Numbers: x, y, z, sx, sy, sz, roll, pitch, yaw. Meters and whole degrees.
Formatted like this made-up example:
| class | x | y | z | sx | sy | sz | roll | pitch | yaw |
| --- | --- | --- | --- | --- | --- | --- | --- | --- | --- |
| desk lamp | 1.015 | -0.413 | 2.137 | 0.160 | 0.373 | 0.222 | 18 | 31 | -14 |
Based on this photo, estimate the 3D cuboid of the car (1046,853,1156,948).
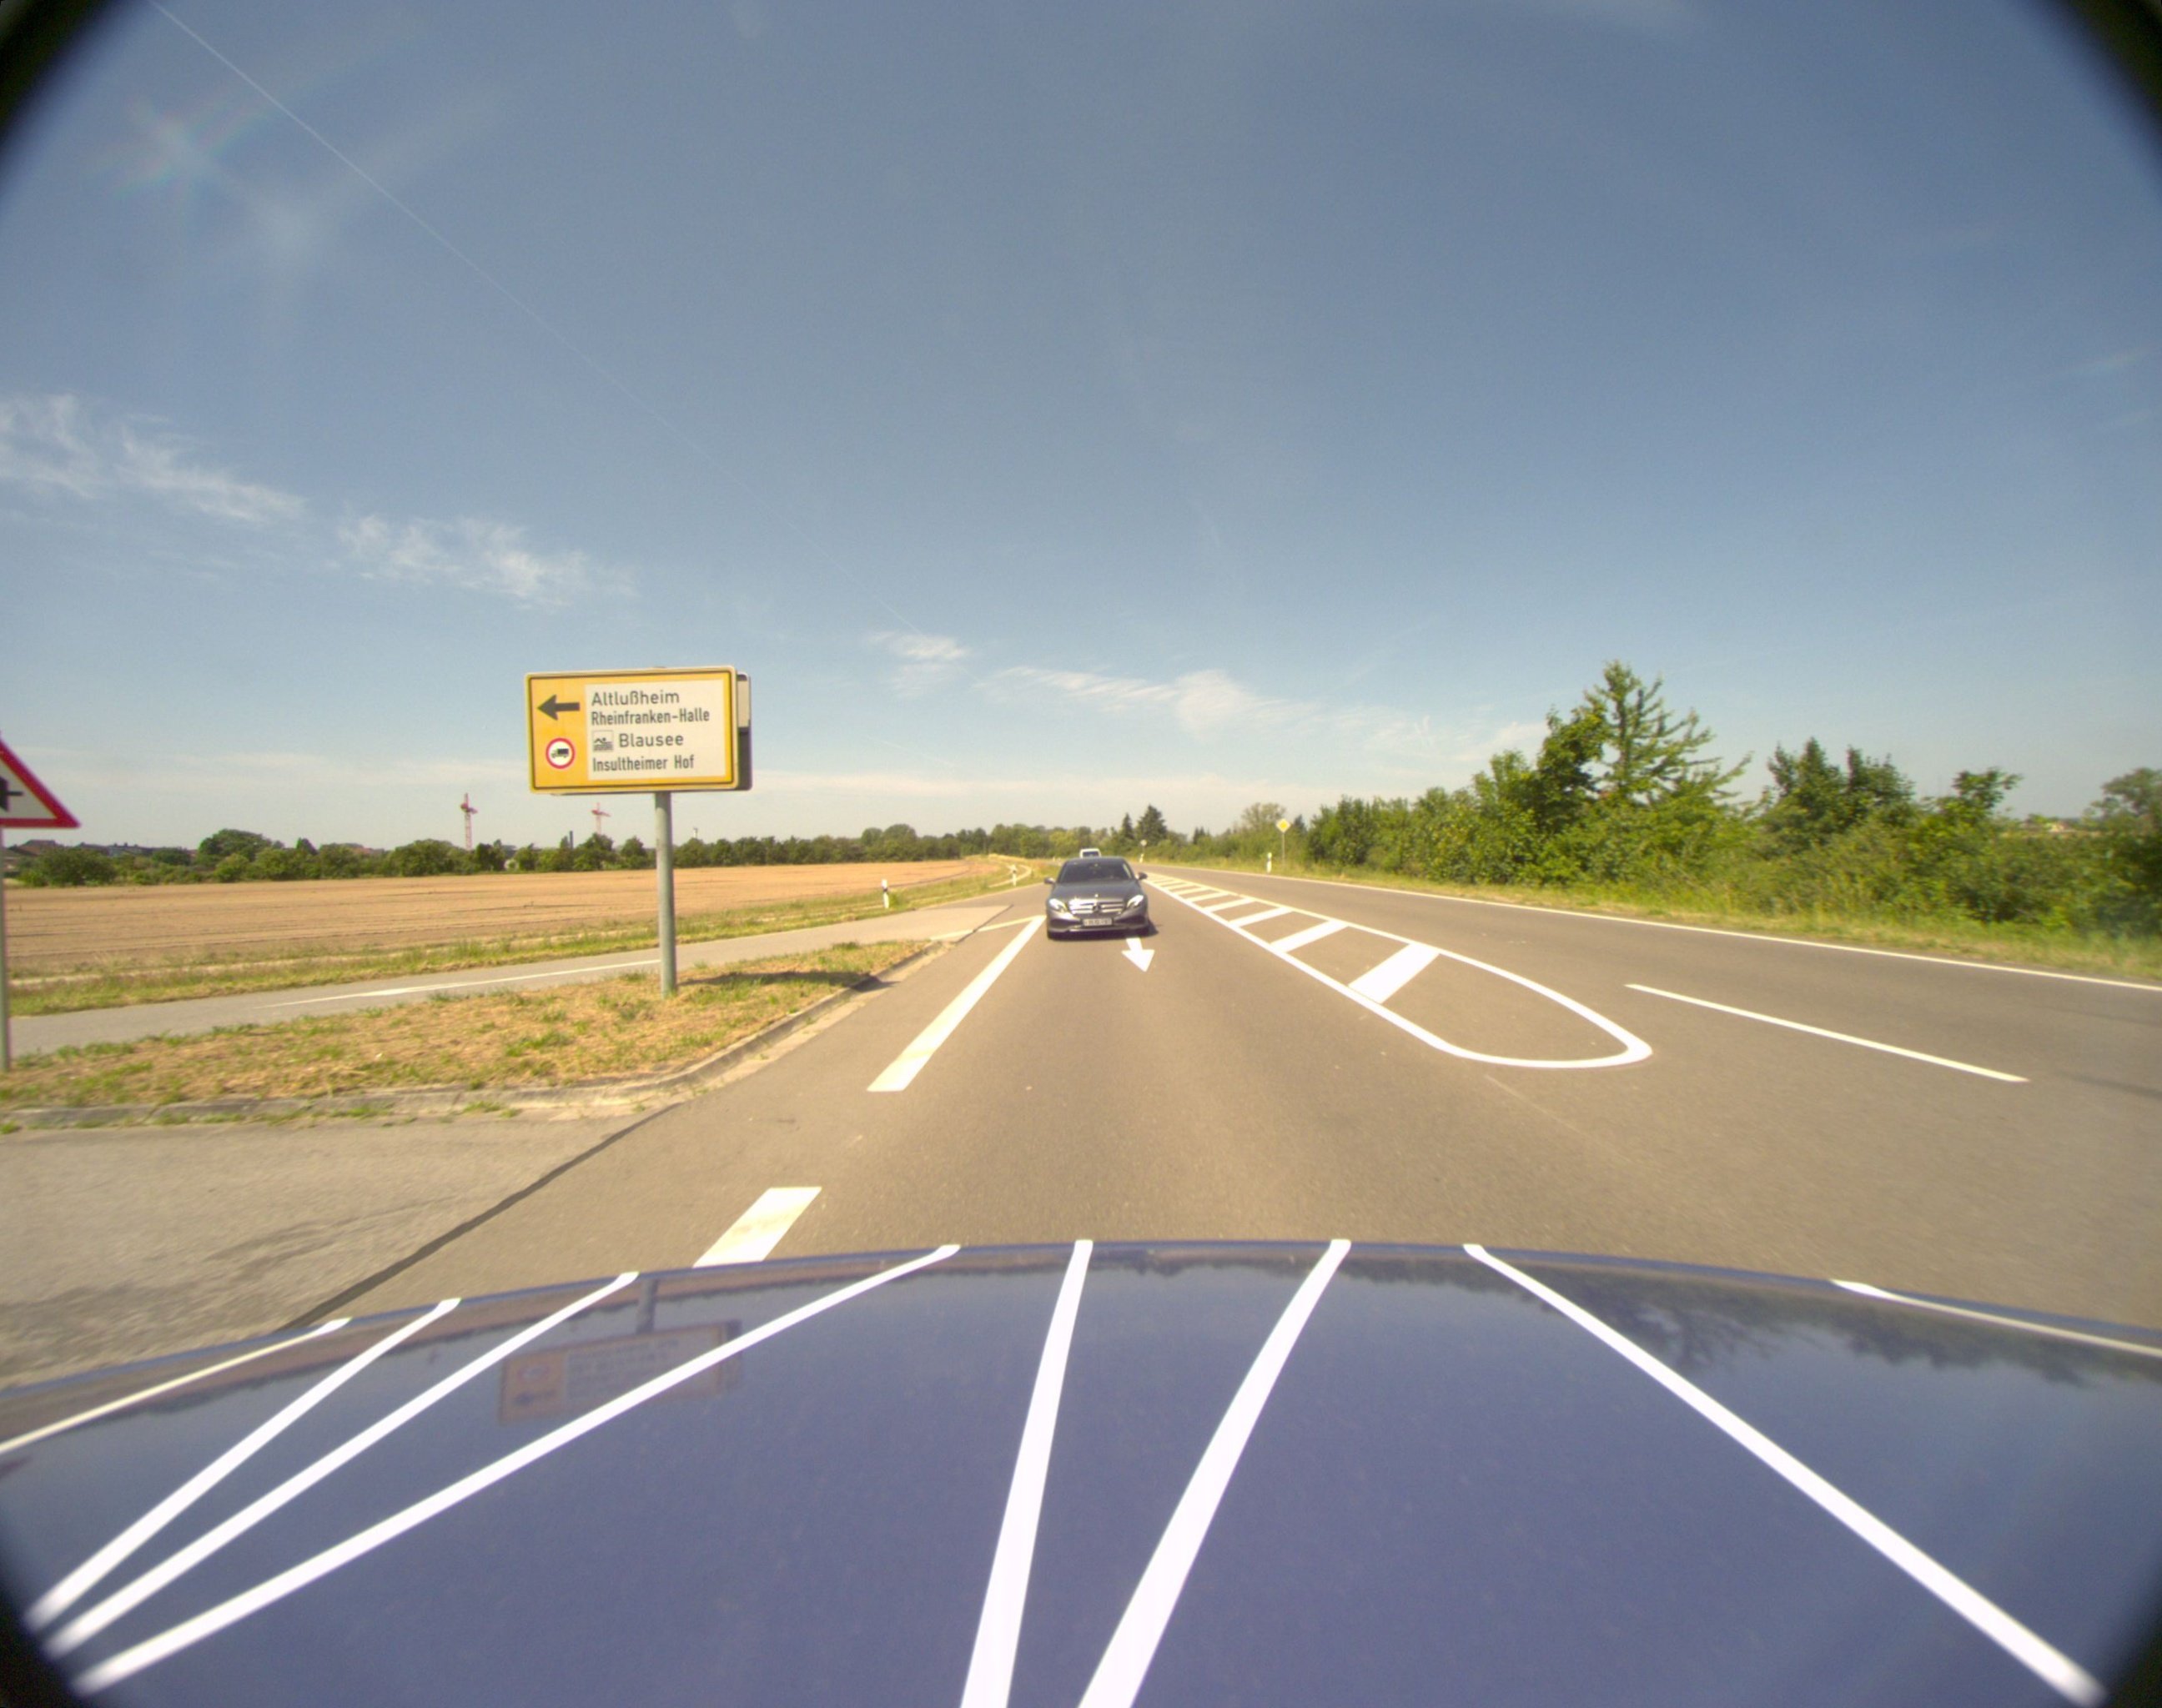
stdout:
| class | x | y | z | sx | sy | sz | roll | pitch | yaw |
| --- | --- | --- | --- | --- | --- | --- | --- | --- | --- |
| car | 0.511 | 0.805 | 15.328 | 1.831 | 1.540 | 4.500 | -3 | 0 | 4 |

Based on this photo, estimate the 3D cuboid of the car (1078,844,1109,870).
| class | x | y | z | sx | sy | sz | roll | pitch | yaw |
| --- | --- | --- | --- | --- | --- | --- | --- | --- | --- |
| car | 1.005 | 0.214 | 64.770 | 2.180 | 2.002 | 5.023 | -4 | 1 | -3 |
